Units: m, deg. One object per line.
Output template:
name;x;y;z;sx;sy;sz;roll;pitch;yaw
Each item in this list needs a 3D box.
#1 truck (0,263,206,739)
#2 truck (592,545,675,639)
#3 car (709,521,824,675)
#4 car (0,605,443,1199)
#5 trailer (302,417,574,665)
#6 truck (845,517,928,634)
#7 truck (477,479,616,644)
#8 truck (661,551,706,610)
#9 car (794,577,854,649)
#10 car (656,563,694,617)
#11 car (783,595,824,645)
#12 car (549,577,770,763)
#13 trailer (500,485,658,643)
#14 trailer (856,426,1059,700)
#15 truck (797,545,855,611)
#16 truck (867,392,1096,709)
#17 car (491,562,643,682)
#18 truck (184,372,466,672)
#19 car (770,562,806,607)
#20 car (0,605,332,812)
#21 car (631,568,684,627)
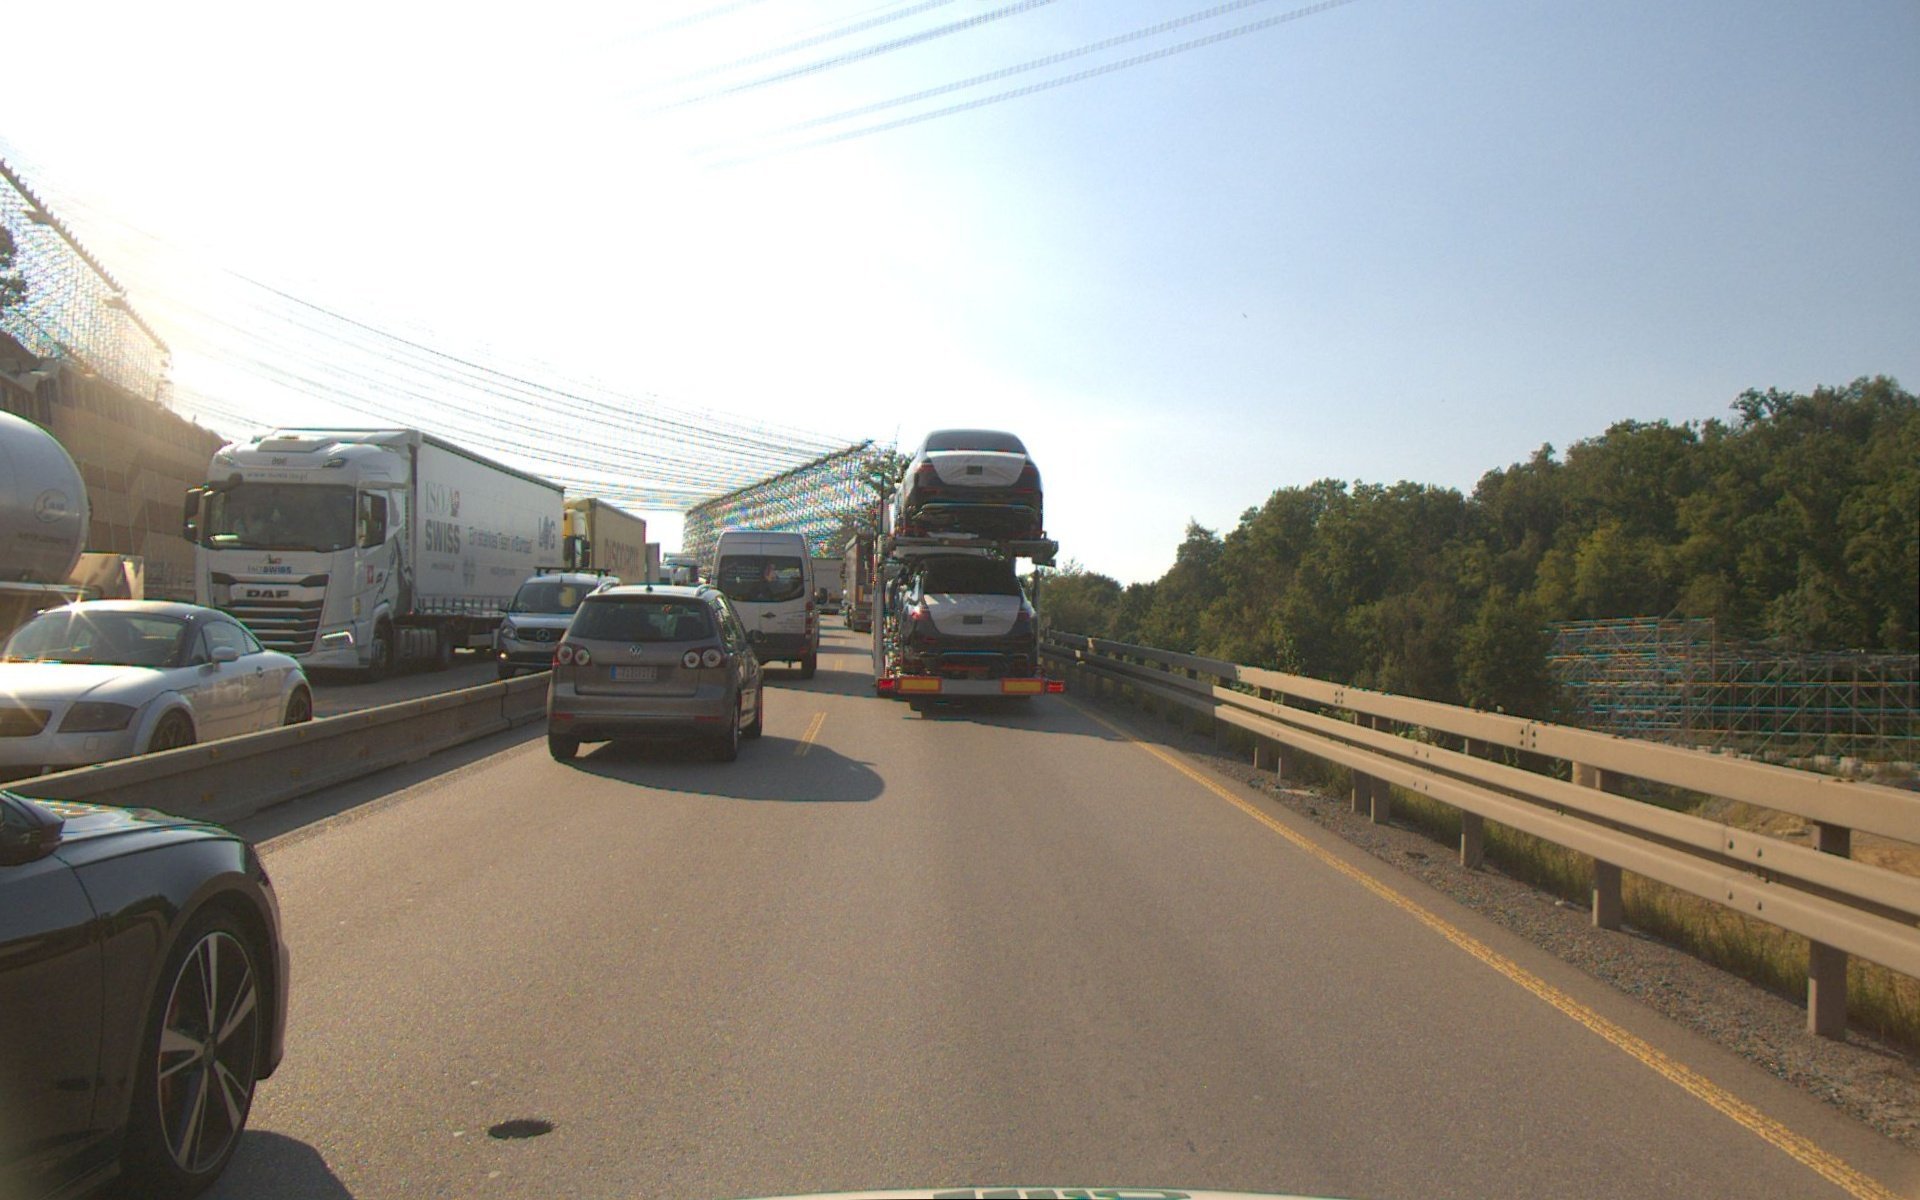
truck;-9.448;-0.877;11.112;2.752;4.039;13.887;1;0;-2
truck;-13.212;-0.230;67.452;2.312;3.593;7.691;0;-1;-4
car;-3.594;0.010;31.327;1.940;2.732;4.143;0;-1;-4
car;-2.636;0.765;2.689;1.900;1.506;5.222;0;-1;1
trailer;-10.565;-0.902;35.087;2.404;4.341;12.138;0;-1;-3
truck;-3.413;-1.023;73.561;3.165;4.759;11.683;1;0;-5
truck;-11.529;-0.958;46.633;2.837;4.347;5.765;0;-1;-5
truck;-20.106;-1.391;120.708;2.590;4.065;9.019;1;0;-5
car;-3.936;0.404;48.276;1.635;2.019;3.815;0;-1;-3
car;-15.588;-0.549;90.524;1.636;2.813;4.954;1;0;-5
car;-6.570;0.866;69.456;1.636;2.019;3.813;0;-1;-5
car;-2.852;0.656;16.482;1.667;1.615;4.143;0;-1;-3
trailer;-12.075;-0.862;53.914;2.837;4.471;14.365;0;-1;-4
trailer;-0.505;-0.383;32.236;2.818;4.064;15.263;0;-1;-4
truck;-10.235;-1.638;125.206;3.580;4.759;11.672;1;0;-9
truck;0.124;-0.564;24.084;2.813;4.050;5.765;0;-1;-5
car;-6.897;0.345;29.499;1.796;1.950;4.861;1;0;-4
truck;-10.169;-1.071;27.209;2.395;4.347;6.318;0;-1;-3
car;-8.218;-0.714;79.261;1.636;2.019;3.813;0;-1;-5
car;-6.203;0.707;12.251;1.676;1.274;4.049;0;-1;-2
car;-15.004;-0.086;82.328;2.086;2.798;5.498;0;-1;-5
